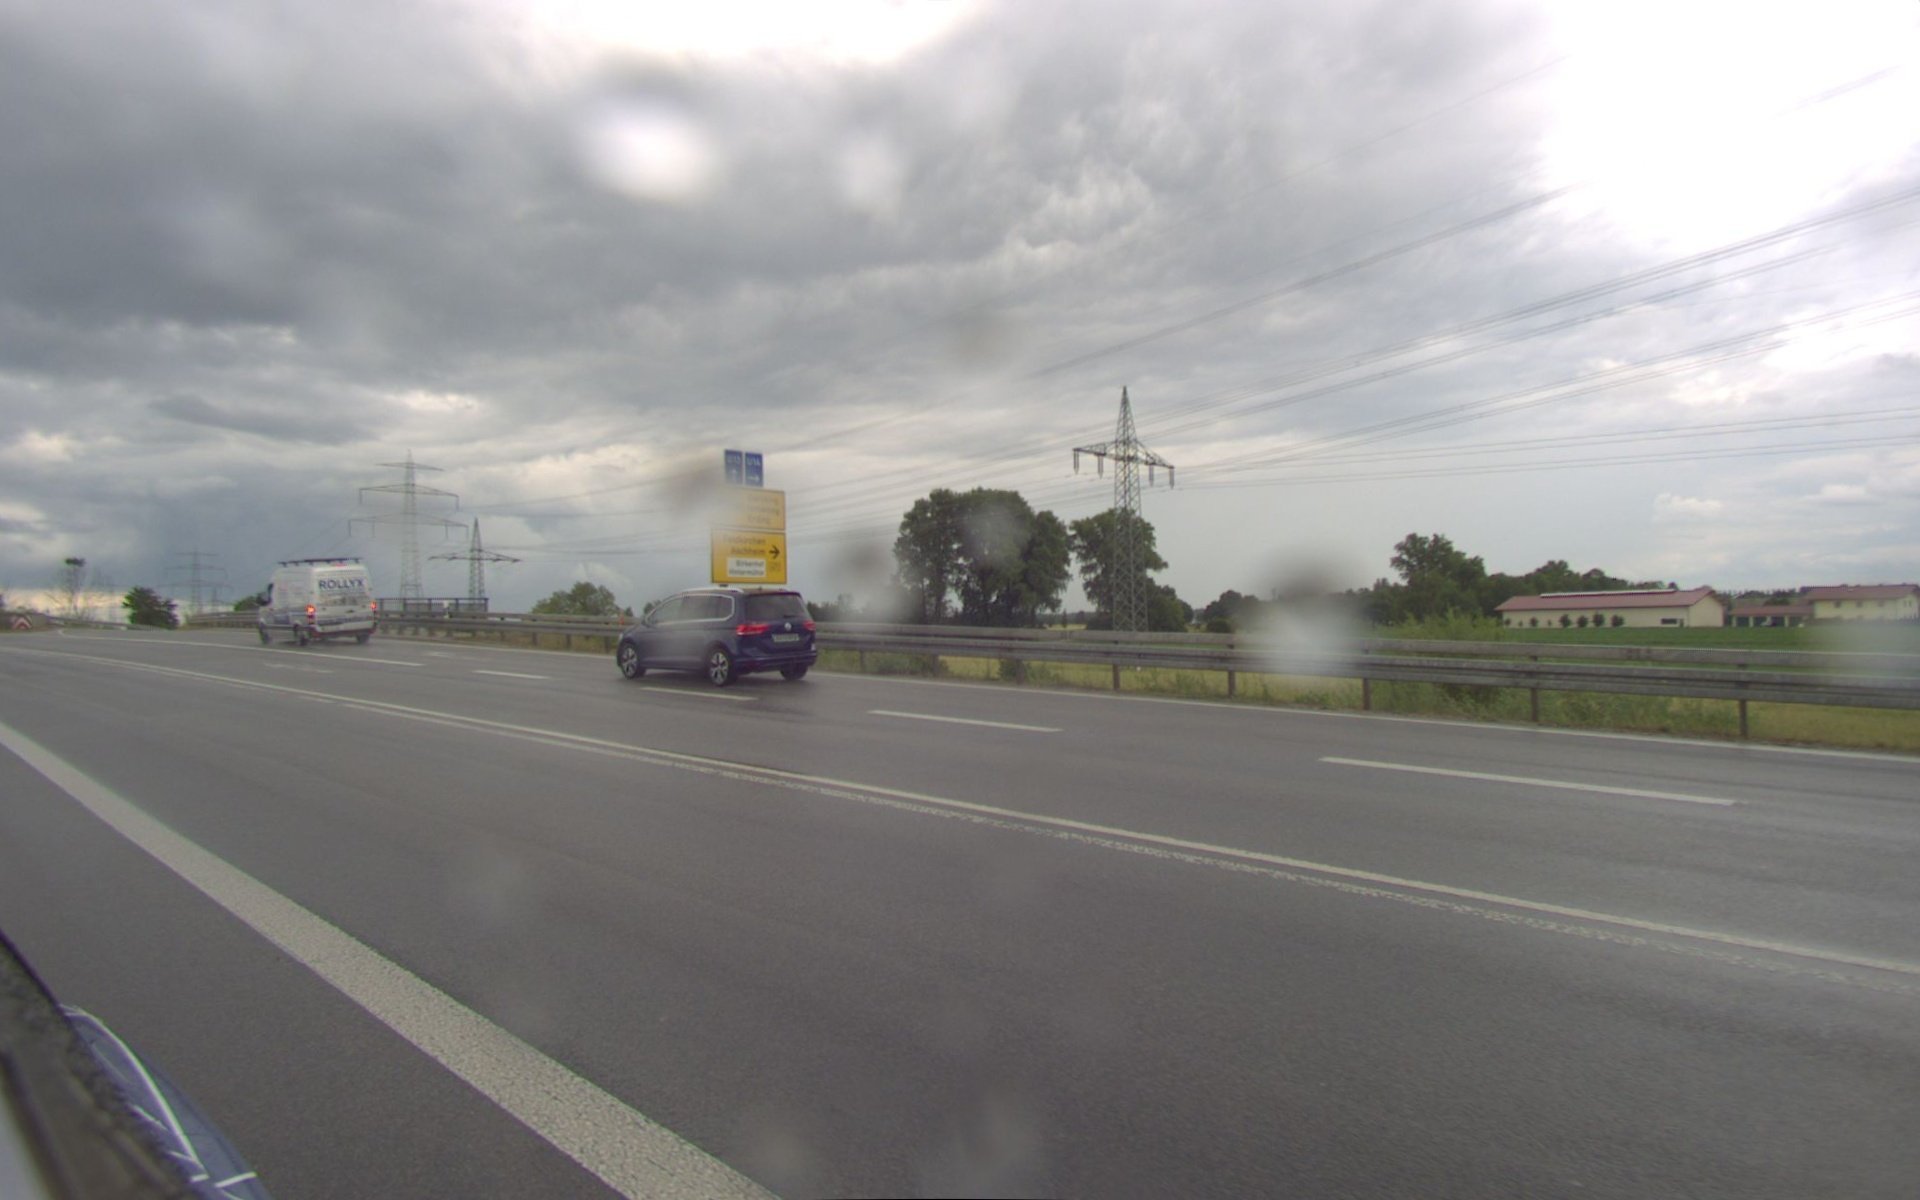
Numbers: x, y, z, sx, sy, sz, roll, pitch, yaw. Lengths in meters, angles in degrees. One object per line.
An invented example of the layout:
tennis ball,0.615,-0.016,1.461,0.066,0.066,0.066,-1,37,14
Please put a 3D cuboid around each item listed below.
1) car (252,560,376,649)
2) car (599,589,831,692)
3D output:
car,-21.123,0.139,32.993,5.457,2.674,1.949,-1,0,41
car,-4.496,0.652,18.162,4.634,1.622,1.690,-1,0,41
